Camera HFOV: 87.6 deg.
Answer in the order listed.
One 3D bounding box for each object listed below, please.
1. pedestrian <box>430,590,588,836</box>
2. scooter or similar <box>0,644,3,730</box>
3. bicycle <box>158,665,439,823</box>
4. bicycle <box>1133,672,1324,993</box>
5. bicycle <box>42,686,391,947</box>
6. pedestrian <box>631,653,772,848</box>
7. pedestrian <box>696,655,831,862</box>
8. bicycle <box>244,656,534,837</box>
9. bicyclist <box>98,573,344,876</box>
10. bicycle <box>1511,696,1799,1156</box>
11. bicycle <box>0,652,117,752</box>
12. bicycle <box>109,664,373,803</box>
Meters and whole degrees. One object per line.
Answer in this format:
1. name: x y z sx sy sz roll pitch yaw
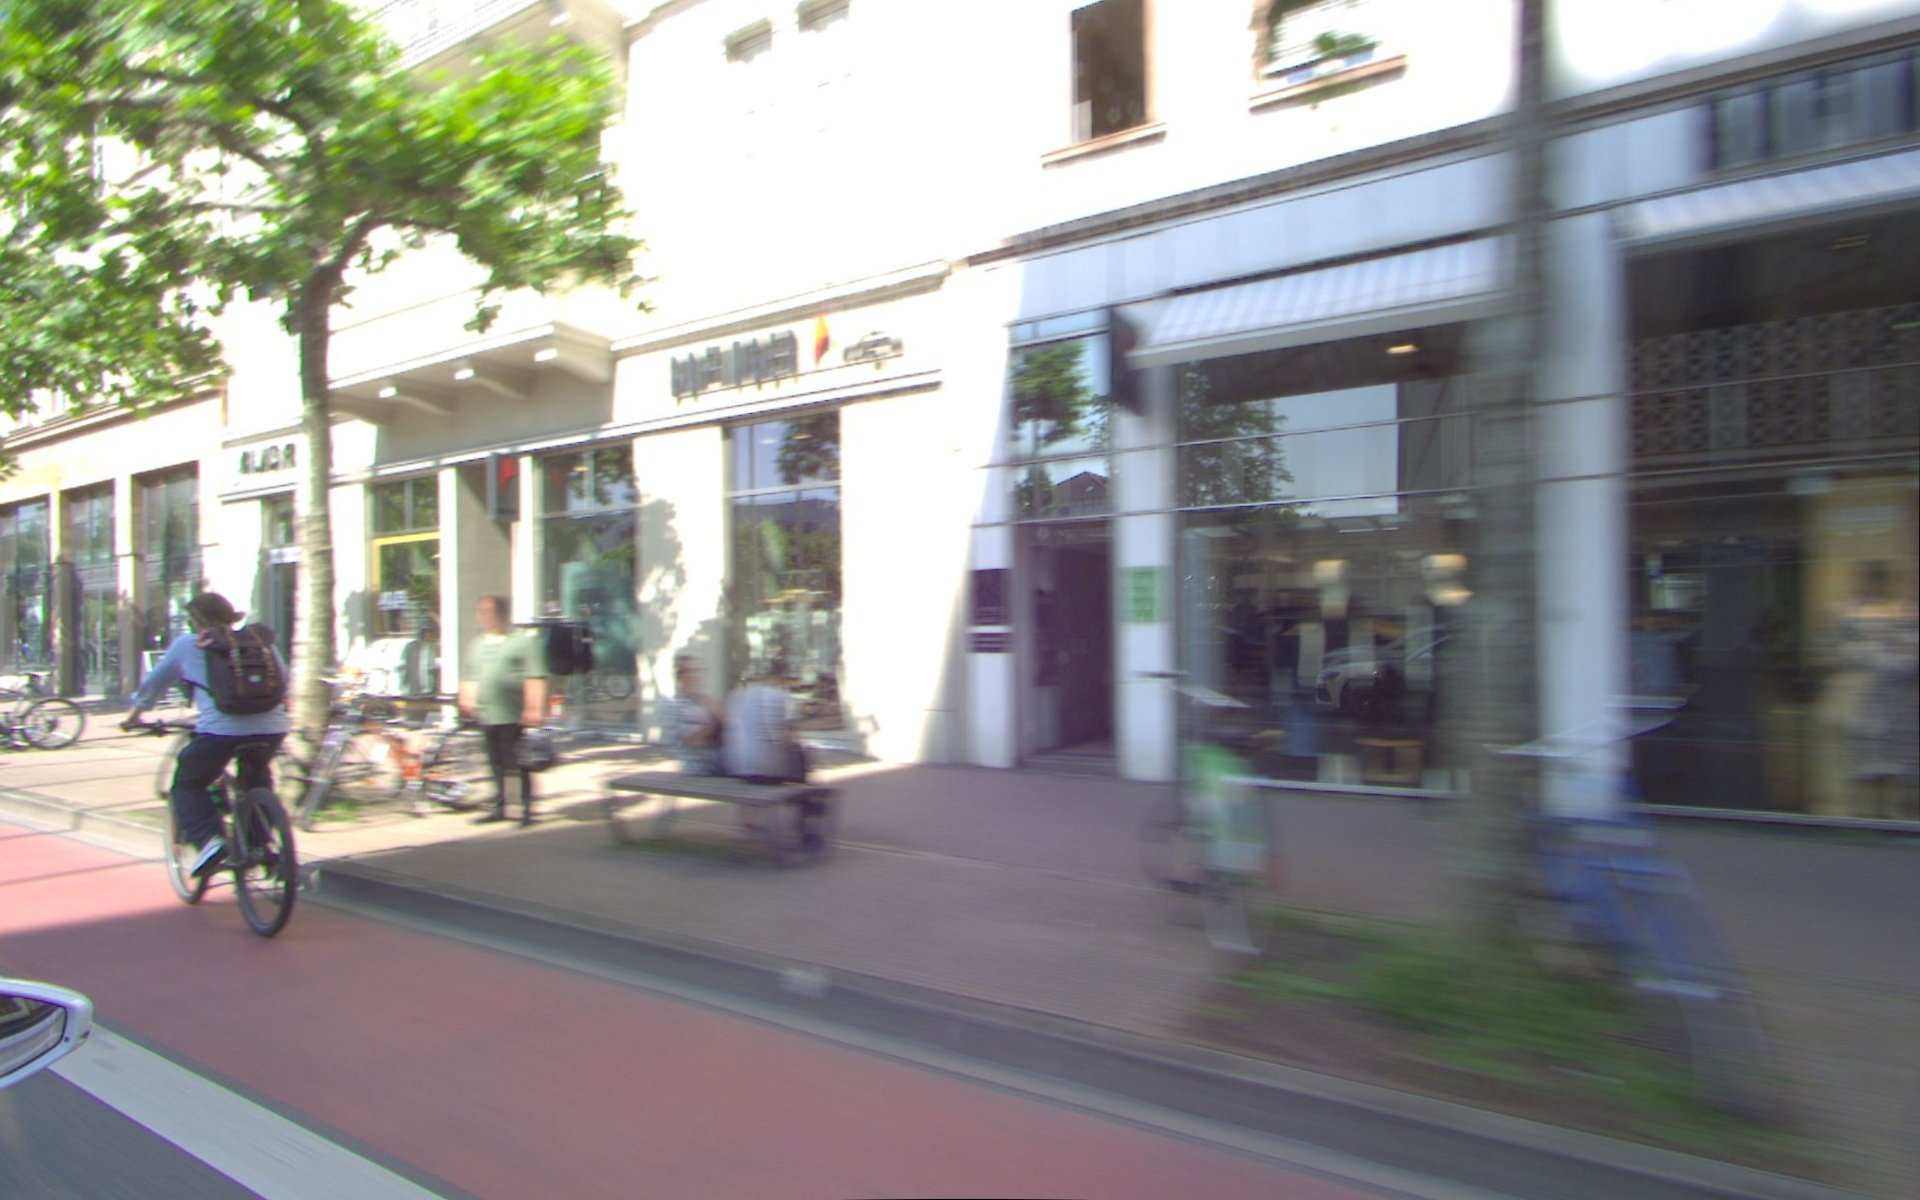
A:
1. pedestrian: -3.352 0.806 7.466 0.830 1.710 0.639 0 -3 29
2. scooter or similar: -13.725 1.219 13.256 0.663 1.290 1.468 -2 -3 42
3. bicycle: -5.333 1.111 8.183 0.492 1.141 1.831 -2 -4 42
4. bicycle: 1.216 0.982 4.868 0.566 1.212 1.781 0 -2 4
5. bicycle: -4.060 1.066 5.428 2.049 1.141 0.698 -1 -3 28
6. pedestrian: -1.782 1.001 6.960 0.567 1.258 0.787 -2 -3 29
7. pedestrian: -1.273 0.990 6.526 0.588 1.248 0.639 -2 -3 29
8. bicycle: -4.356 1.049 7.769 0.665 1.212 1.833 -1 -3 38
9. bicyclist: -3.962 0.629 5.386 0.946 1.463 0.698 -1 -3 28
10. bicycle: 2.360 0.947 3.591 0.489 1.141 1.842 1 -3 23
11. bicycle: -11.719 1.245 12.406 0.661 1.200 1.835 -1 -3 36
12. bicycle: -6.585 1.167 9.263 0.784 1.111 1.834 -1 -3 36
